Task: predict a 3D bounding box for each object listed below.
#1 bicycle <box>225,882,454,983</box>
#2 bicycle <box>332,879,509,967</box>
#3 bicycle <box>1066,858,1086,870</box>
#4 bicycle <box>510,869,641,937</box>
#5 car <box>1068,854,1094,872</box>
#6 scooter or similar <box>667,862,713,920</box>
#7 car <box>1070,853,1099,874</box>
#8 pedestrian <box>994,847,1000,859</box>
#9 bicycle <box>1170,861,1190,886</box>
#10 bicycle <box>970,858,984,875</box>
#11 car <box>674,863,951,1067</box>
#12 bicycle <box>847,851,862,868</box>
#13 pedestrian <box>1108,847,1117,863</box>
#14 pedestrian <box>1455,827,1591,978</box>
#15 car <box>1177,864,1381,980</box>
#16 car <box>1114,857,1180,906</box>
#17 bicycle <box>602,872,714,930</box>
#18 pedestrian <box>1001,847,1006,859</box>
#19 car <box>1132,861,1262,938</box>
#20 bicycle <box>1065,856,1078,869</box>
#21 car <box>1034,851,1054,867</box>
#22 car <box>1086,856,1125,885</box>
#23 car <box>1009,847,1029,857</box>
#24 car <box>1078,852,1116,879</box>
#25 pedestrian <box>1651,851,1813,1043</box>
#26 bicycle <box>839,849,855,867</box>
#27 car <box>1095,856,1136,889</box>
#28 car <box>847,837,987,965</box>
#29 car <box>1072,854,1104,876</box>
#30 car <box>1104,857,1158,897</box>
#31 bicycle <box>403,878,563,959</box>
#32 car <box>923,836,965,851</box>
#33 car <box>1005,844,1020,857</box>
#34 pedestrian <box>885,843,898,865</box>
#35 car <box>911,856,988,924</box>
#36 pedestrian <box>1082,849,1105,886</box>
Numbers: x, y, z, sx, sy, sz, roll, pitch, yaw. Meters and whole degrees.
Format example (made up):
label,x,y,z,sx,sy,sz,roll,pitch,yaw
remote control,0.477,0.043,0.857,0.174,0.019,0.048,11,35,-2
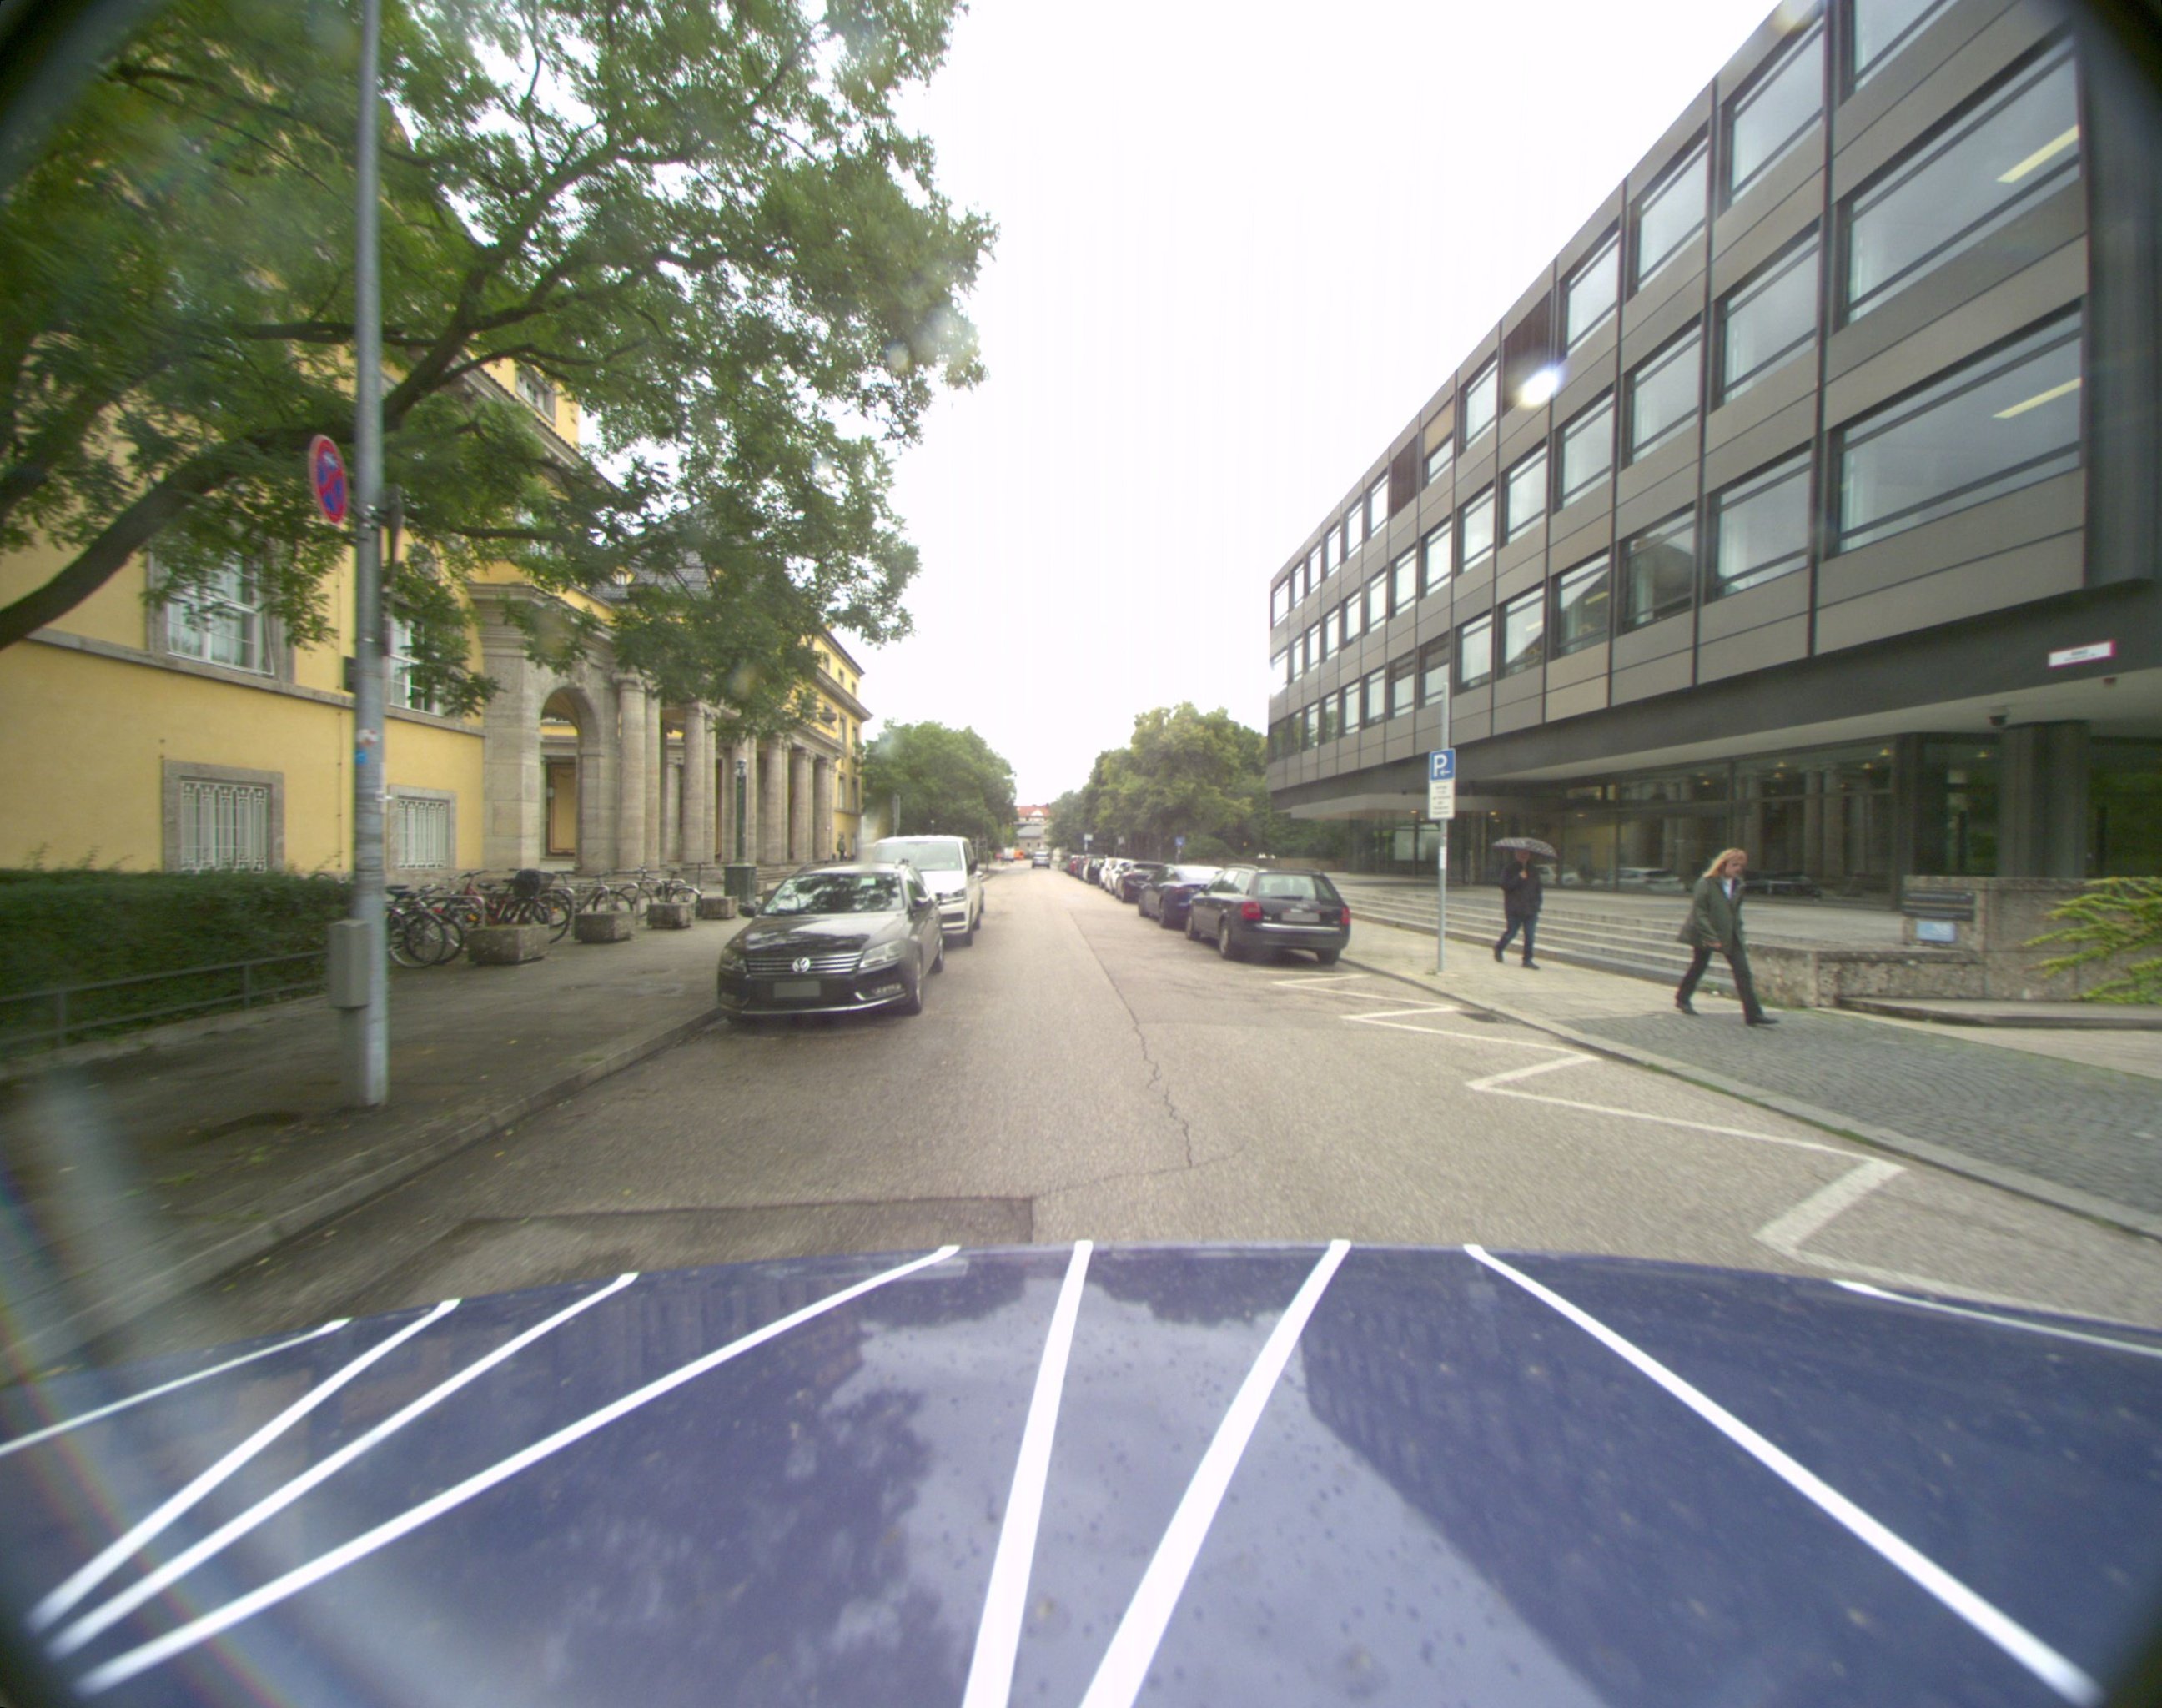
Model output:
label,x,y,z,sx,sy,sz,roll,pitch,yaw
bicycle,-8.624,0.908,8.891,2.038,1.107,0.471,2,1,-7
bicycle,-8.977,0.935,10.361,1.937,1.107,0.471,2,1,-2
bicycle,-0.462,0.887,70.421,1.701,1.101,0.598,0,1,-12
bicycle,-8.835,0.854,13.303,1.937,1.107,0.471,2,1,-1
car,-0.029,0.711,65.004,1.999,1.452,4.362,1,0,-3
scooter or similar,-8.617,0.804,16.735,1.009,1.215,0.539,2,1,41
car,0.240,0.743,59.466,1.999,1.535,4.362,1,0,-3
pedestrian,-13.464,-0.175,121.979,0.777,1.855,0.996,-3,2,-12
bicycle,4.917,0.963,37.891,0.644,1.157,1.526,-2,1,-5
bicycle,-7.019,0.841,51.474,0.762,1.094,2.263,3,0,-4
car,-2.553,0.909,8.569,1.776,1.481,4.970,-2,0,-6
bicycle,-17.515,0.401,58.789,0.601,1.299,2.164,1,0,-4
pedestrian,3.431,0.072,82.297,0.798,1.722,0.660,-2,2,-5
pedestrian,6.310,0.661,10.933,1.138,2.043,1.220,1,1,-4
car,3.090,0.990,13.082,1.999,1.482,4.881,2,0,-3
car,2.210,0.902,26.608,1.744,1.452,4.235,3,0,-2
bicycle,-8.575,0.957,15.446,1.937,1.107,0.471,2,1,-6
pedestrian,-12.461,-0.220,122.251,0.777,1.855,0.996,-3,2,-10
car,2.601,0.970,18.321,1.928,1.431,4.915,2,1,-5
bicycle,-0.916,0.801,71.920,0.574,1.275,1.421,-1,1,29
car,-4.071,0.486,83.988,2.030,1.679,4.676,1,0,-2
car,1.321,0.878,42.279,1.763,1.392,4.216,3,0,-2
car,-16.500,-0.582,202.503,4.973,2.521,2.578,-1,2,40
car,0.973,0.702,48.205,1.999,1.574,4.520,1,0,-4
pedestrian,6.310,0.853,7.425,0.754,1.739,0.953,-2,1,3
bicycle,-17.366,0.301,56.435,0.601,1.299,2.263,1,0,-4
car,1.660,0.863,37.196,1.548,1.462,3.551,2,0,-4
car,-2.884,0.723,14.537,1.850,1.922,5.270,-2,1,-5
car,0.468,0.777,54.753,1.999,1.452,4.645,1,0,-3
car,2.000,0.916,31.639,1.686,1.432,4.277,3,0,-3
bicycle,-8.758,0.941,11.166,1.937,1.107,0.471,2,1,-1
car,-16.939,-1.281,94.075,4.911,1.672,1.965,1,1,-6
car,-12.580,-0.608,139.782,2.237,2.289,4.726,-2,1,-9
pedestrian,-14.995,0.009,60.059,0.790,1.736,1.055,1,1,-4
car,-3.318,0.864,19.621,1.610,1.537,2.932,-2,0,-3
pedestrian,0.604,0.642,36.818,0.893,1.741,0.689,3,0,-12
